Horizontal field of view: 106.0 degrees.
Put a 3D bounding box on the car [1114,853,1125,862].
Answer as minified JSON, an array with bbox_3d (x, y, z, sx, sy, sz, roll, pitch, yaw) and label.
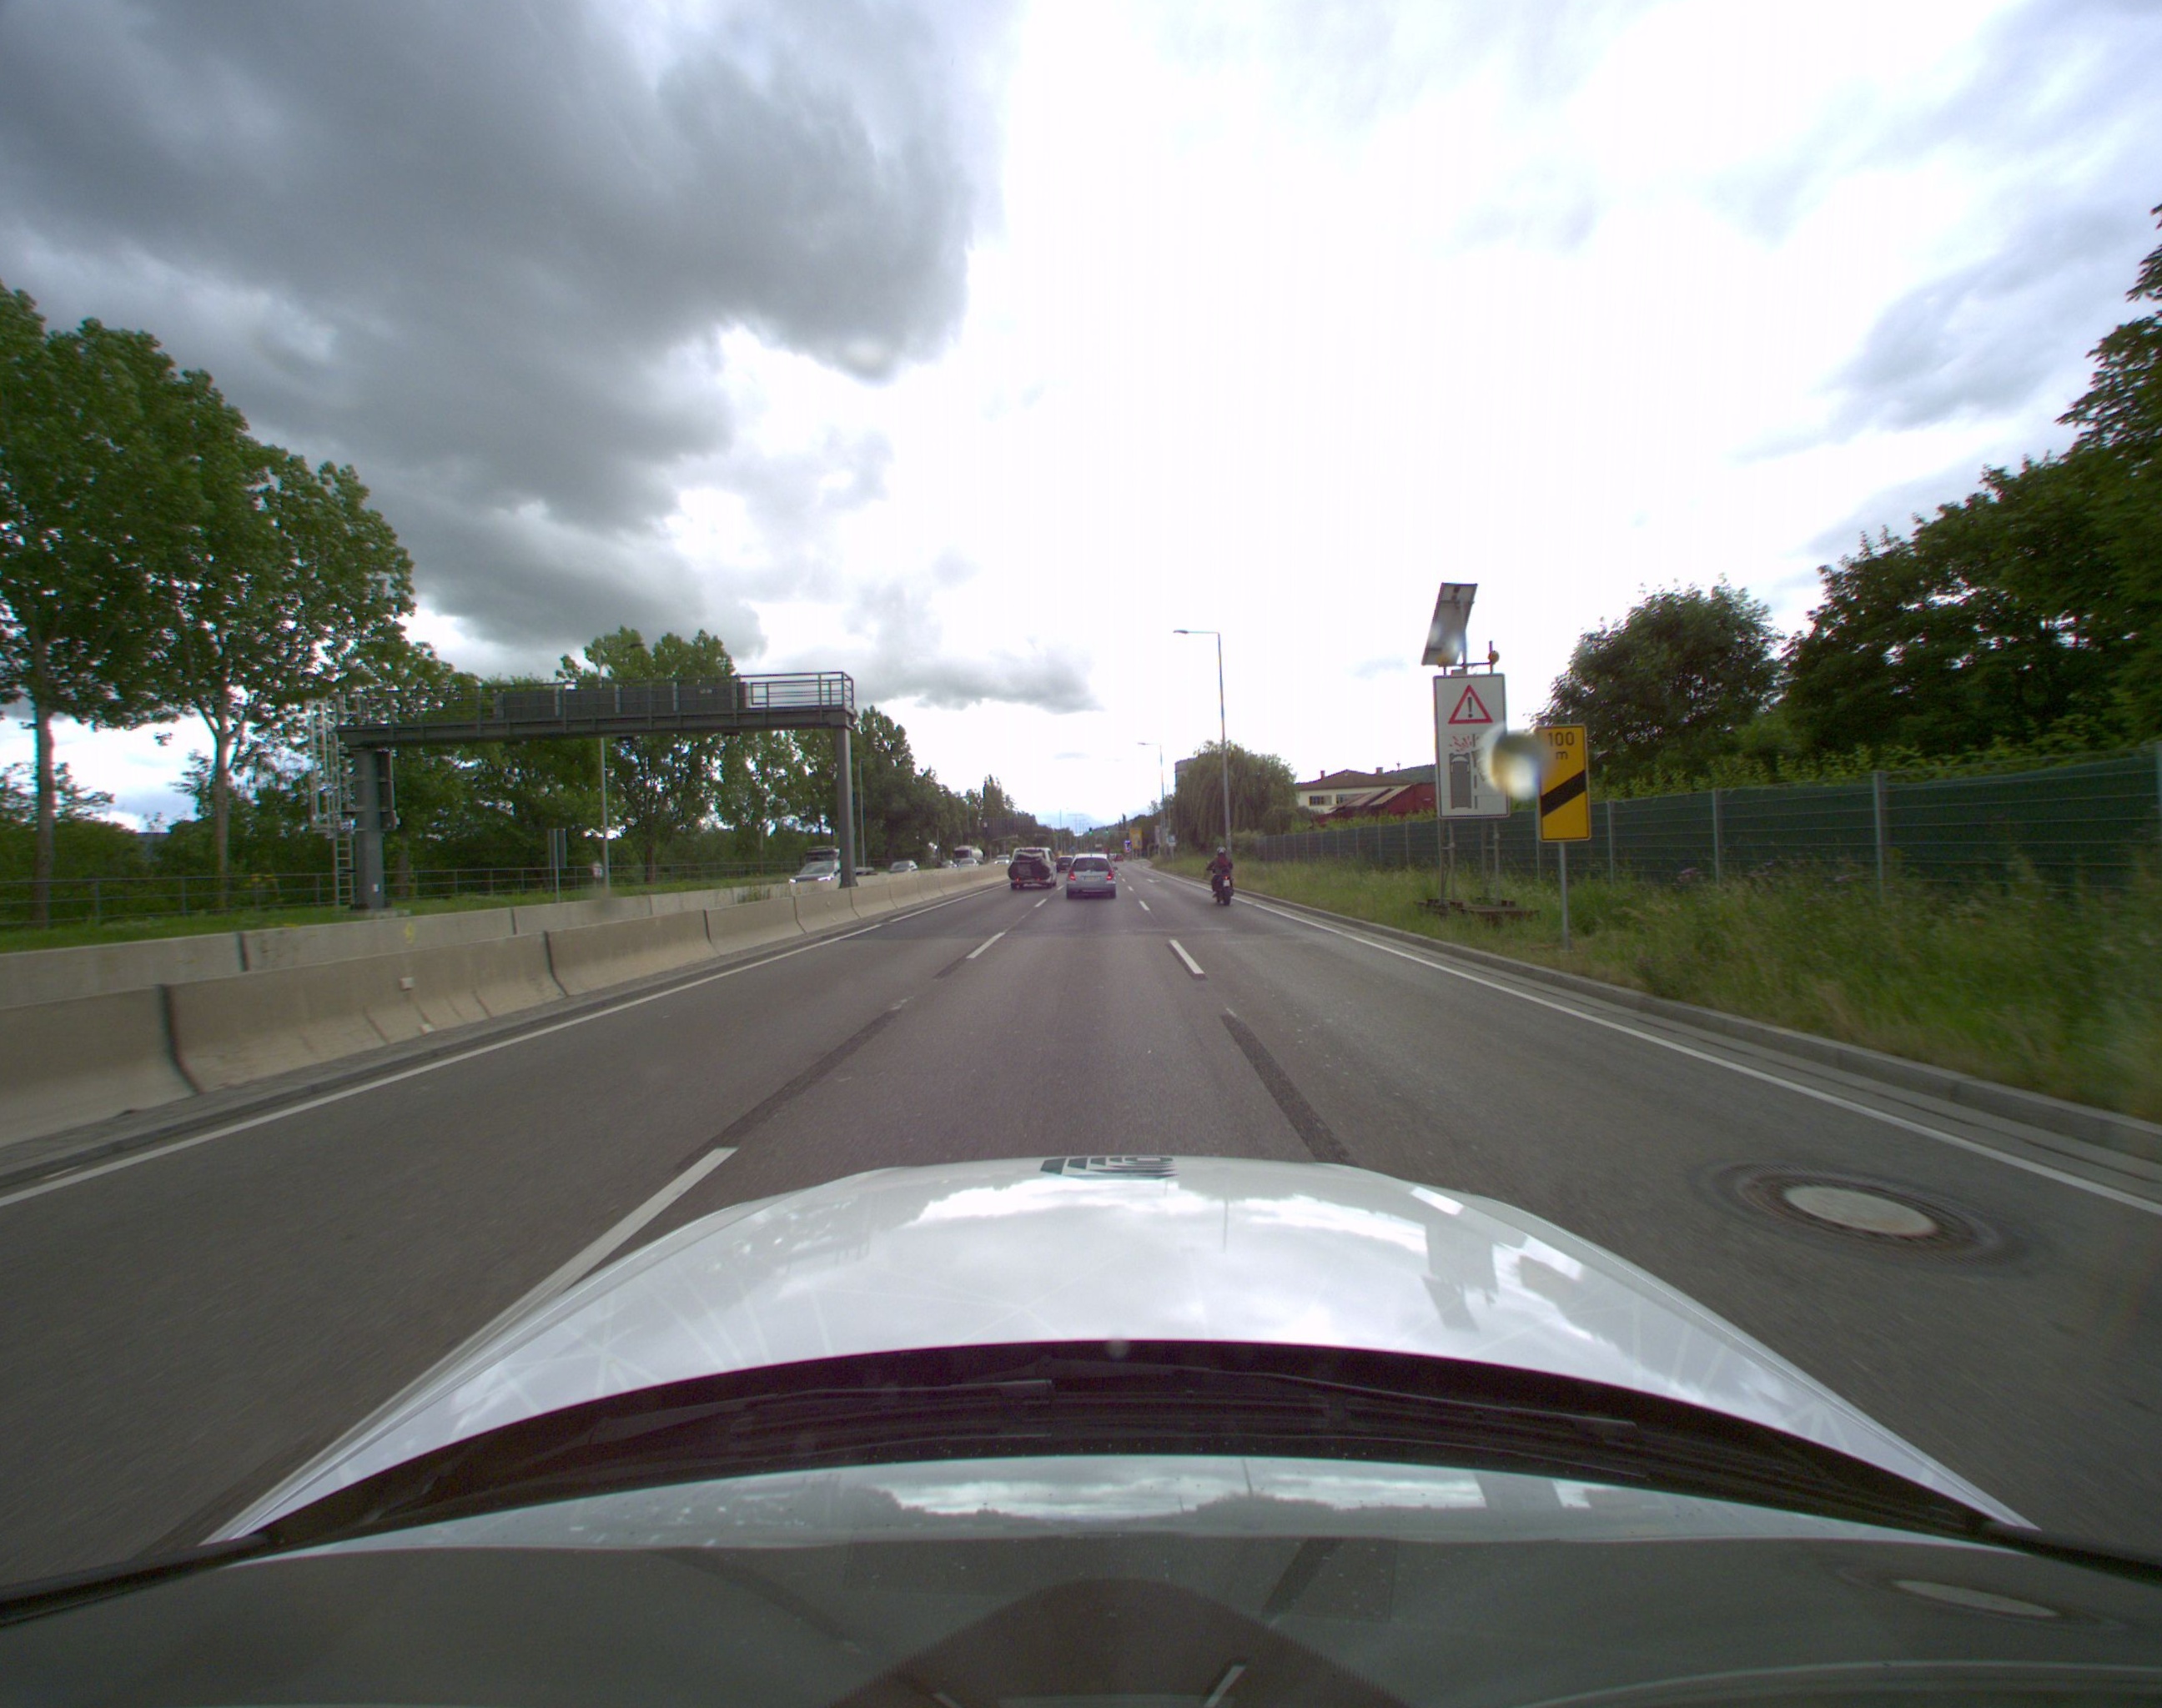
[{"bbox_3d":[7.288,0.638,153.351,1.985,1.552,4.003,0,0,3],"label":"car"}]

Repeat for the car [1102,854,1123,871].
[{"bbox_3d":[2.789,0.696,72.294,1.833,1.464,4.001,0,0,1],"label":"car"}]

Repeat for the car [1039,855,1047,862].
[{"bbox_3d":[-9.938,1.085,211.710,1.871,1.683,4.127,0,0,2],"label":"car"}]

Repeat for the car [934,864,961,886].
[{"bbox_3d":[-13.279,2.055,81.259,1.986,2.013,4.002,0,0,2],"label":"car"}]

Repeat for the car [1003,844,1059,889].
[{"bbox_3d":[-2.227,0.524,37.762,2.207,1.925,5.003,0,0,1],"label":"car"}]

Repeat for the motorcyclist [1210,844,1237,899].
[{"bbox_3d":[4.232,0.507,24.232,0.682,1.610,0.846,0,0,3],"label":"motorcyclist"}]

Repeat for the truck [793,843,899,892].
[{"bbox_3d":[-16.538,0.834,59.205,2.844,3.107,15.888,0,0,1],"label":"truck"}]

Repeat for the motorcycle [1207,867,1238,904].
[{"bbox_3d":[4.213,0.915,24.347,0.703,1.040,2.029,0,0,3],"label":"motorcycle"}]

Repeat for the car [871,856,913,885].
[{"bbox_3d":[-13.185,1.114,57.039,1.809,1.877,4.102,0,0,2],"label":"car"}]

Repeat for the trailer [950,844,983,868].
[{"bbox_3d":[-16.116,0.195,115.066,3.091,3.220,11.665,0,0,-1],"label":"trailer"}]

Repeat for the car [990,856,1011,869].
[{"bbox_3d":[-10.401,1.107,105.382,1.986,1.618,4.699,0,0,2],"label":"car"}]

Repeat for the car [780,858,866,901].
[{"bbox_3d":[-10.438,0.982,33.312,1.918,1.618,4.457,0,0,2],"label":"car"}]

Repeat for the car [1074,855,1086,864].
[{"bbox_3d":[-0.181,0.896,141.688,1.987,1.552,4.000,0,0,1],"label":"car"}]

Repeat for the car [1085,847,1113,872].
[{"bbox_3d":[1.304,0.363,58.167,1.900,1.684,4.002,0,0,2],"label":"car"}]

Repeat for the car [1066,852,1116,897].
[{"bbox_3d":[0.387,0.704,29.962,1.704,1.530,4.001,0,0,1],"label":"car"}]

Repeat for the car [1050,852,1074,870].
[{"bbox_3d":[-1.672,0.625,71.522,1.987,1.552,4.000,0,0,0],"label":"car"}]

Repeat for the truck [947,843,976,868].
[{"bbox_3d":[-16.069,0.188,109.686,3.088,3.219,5.390,0,0,-1],"label":"truck"}]
